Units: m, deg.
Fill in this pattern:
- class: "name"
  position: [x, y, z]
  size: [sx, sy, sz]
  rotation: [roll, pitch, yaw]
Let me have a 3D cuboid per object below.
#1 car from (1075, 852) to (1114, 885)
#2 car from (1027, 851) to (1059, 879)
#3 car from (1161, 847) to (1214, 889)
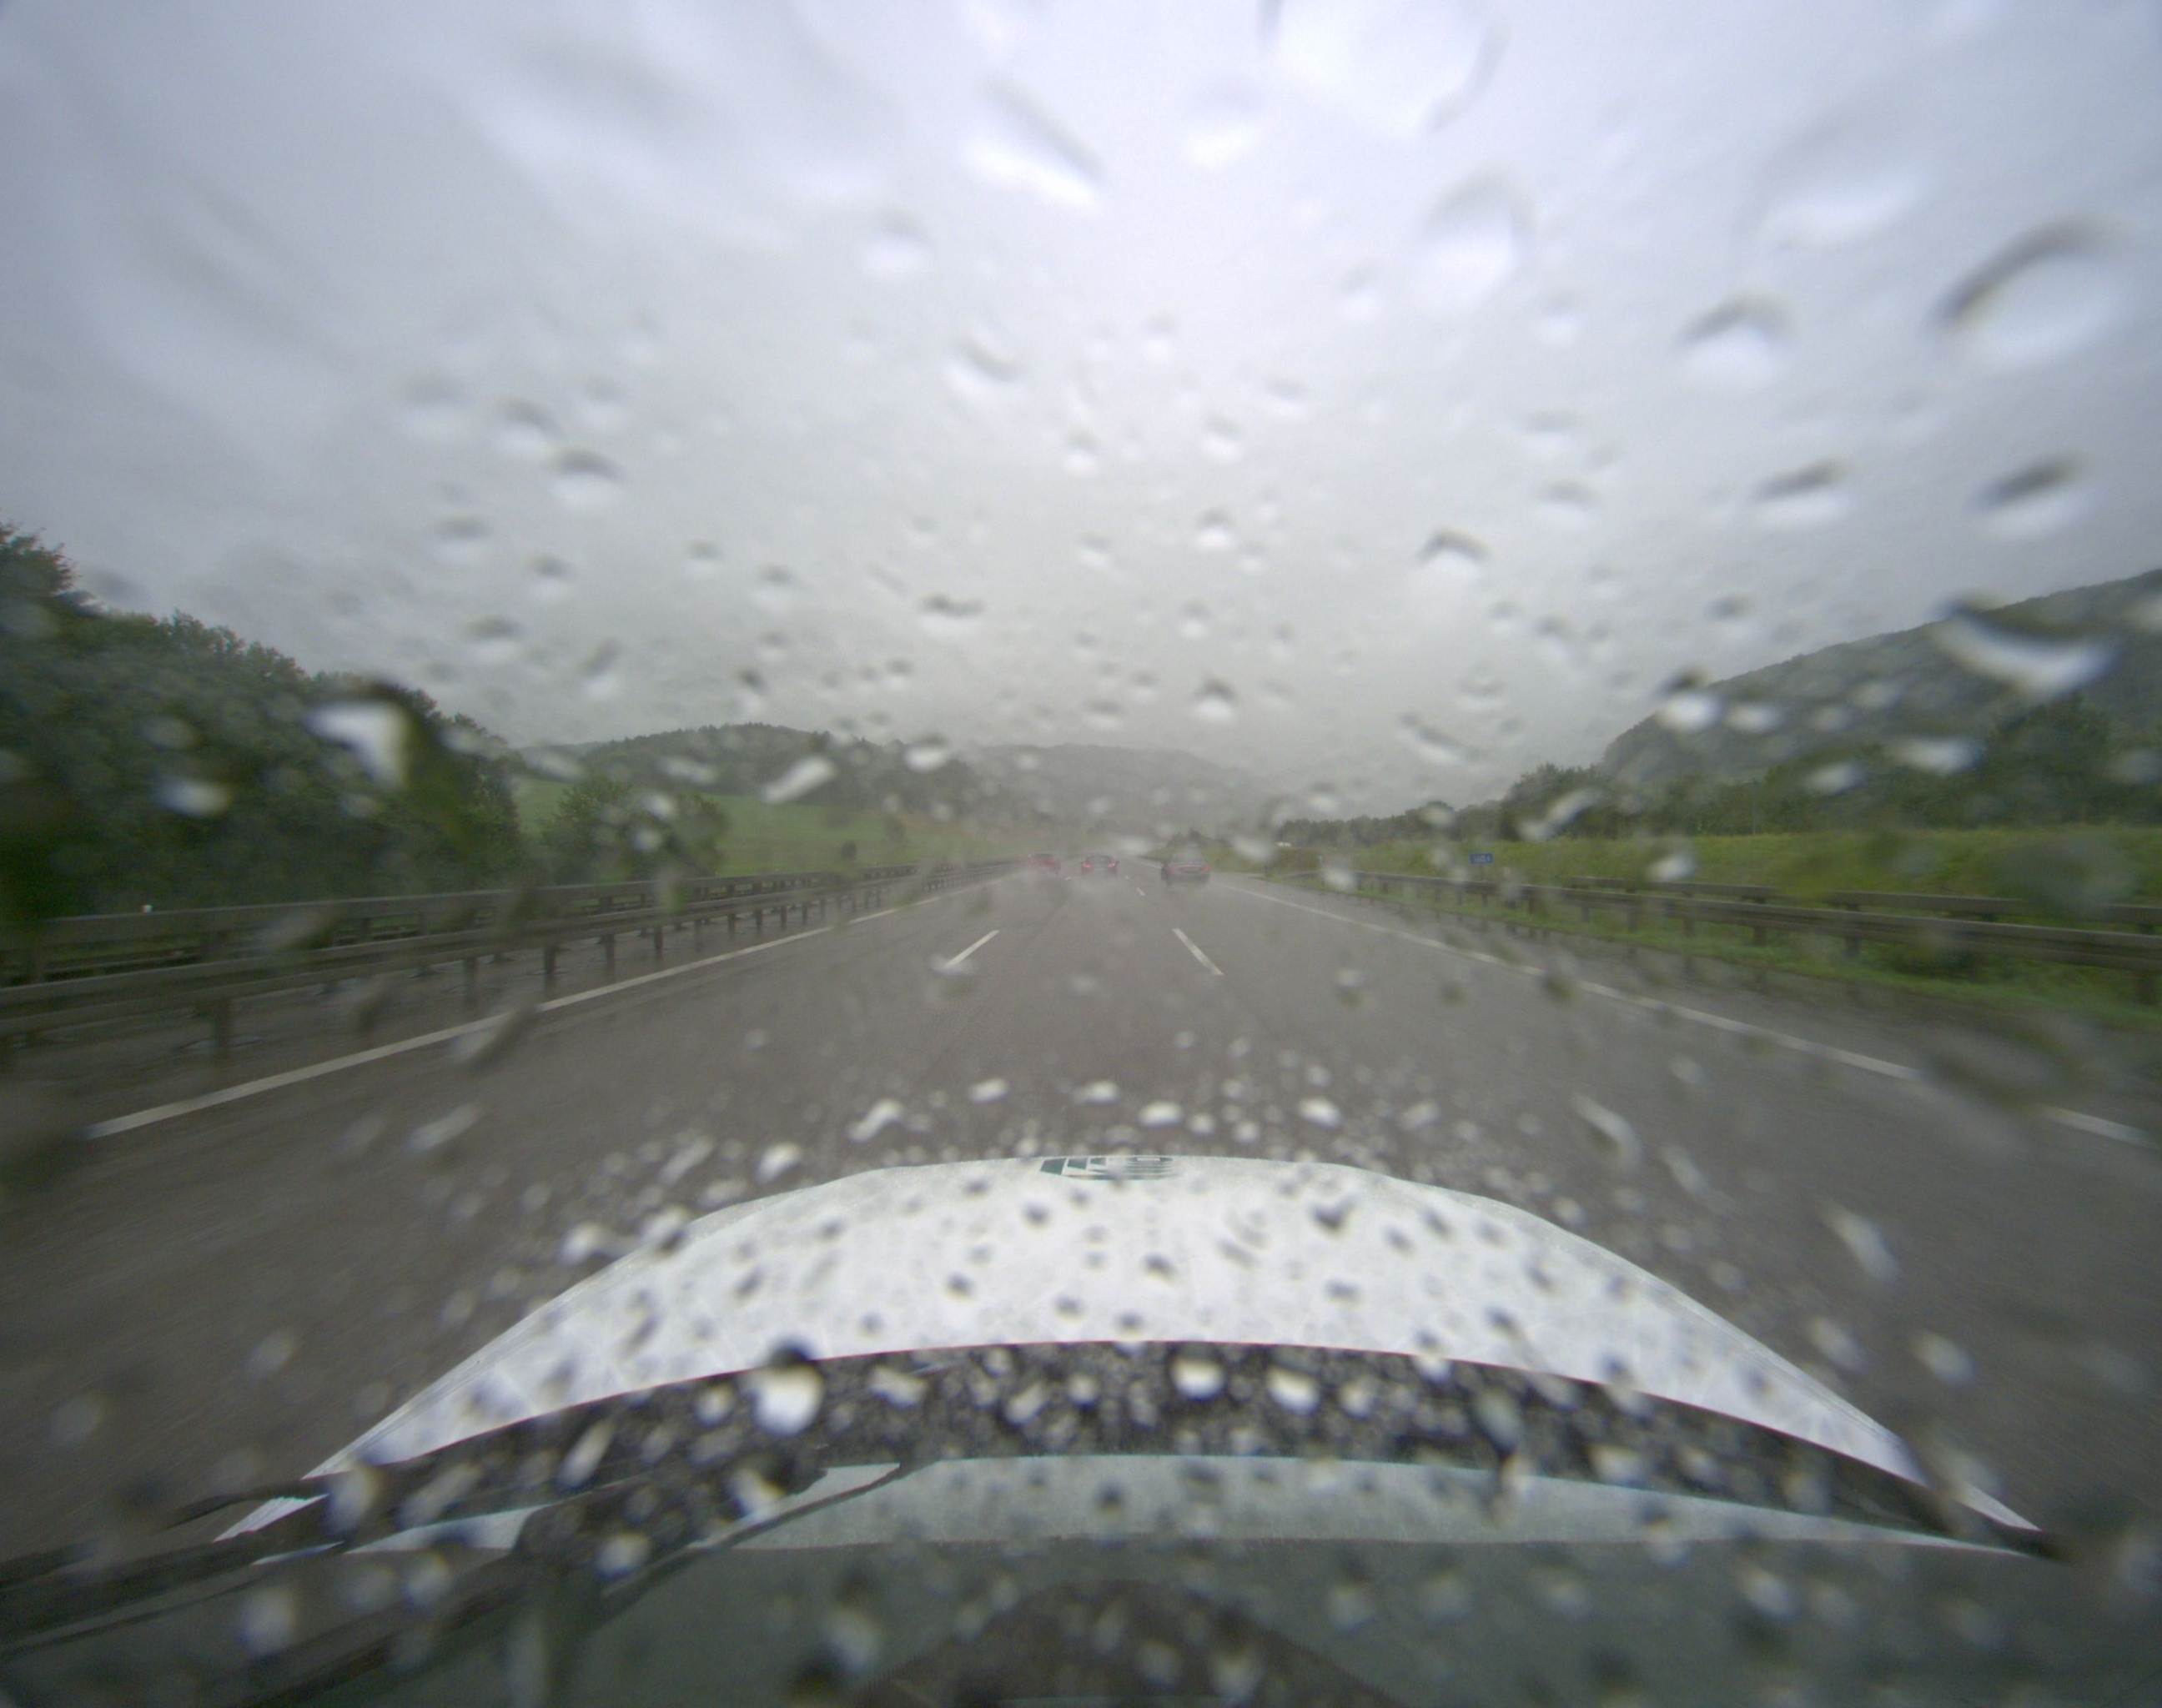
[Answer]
- class: "car"
  position: [0.718, 0.713, 41.083]
  size: [1.852, 1.589, 4.002]
  rotation: [0, 0, 2]
- class: "car"
  position: [-2.523, 0.701, 55.011]
  size: [1.878, 1.816, 4.001]
  rotation: [-1, 0, 1]
- class: "car"
  position: [4.654, 0.583, 36.164]
  size: [1.964, 1.760, 4.002]
  rotation: [-1, 0, 2]
